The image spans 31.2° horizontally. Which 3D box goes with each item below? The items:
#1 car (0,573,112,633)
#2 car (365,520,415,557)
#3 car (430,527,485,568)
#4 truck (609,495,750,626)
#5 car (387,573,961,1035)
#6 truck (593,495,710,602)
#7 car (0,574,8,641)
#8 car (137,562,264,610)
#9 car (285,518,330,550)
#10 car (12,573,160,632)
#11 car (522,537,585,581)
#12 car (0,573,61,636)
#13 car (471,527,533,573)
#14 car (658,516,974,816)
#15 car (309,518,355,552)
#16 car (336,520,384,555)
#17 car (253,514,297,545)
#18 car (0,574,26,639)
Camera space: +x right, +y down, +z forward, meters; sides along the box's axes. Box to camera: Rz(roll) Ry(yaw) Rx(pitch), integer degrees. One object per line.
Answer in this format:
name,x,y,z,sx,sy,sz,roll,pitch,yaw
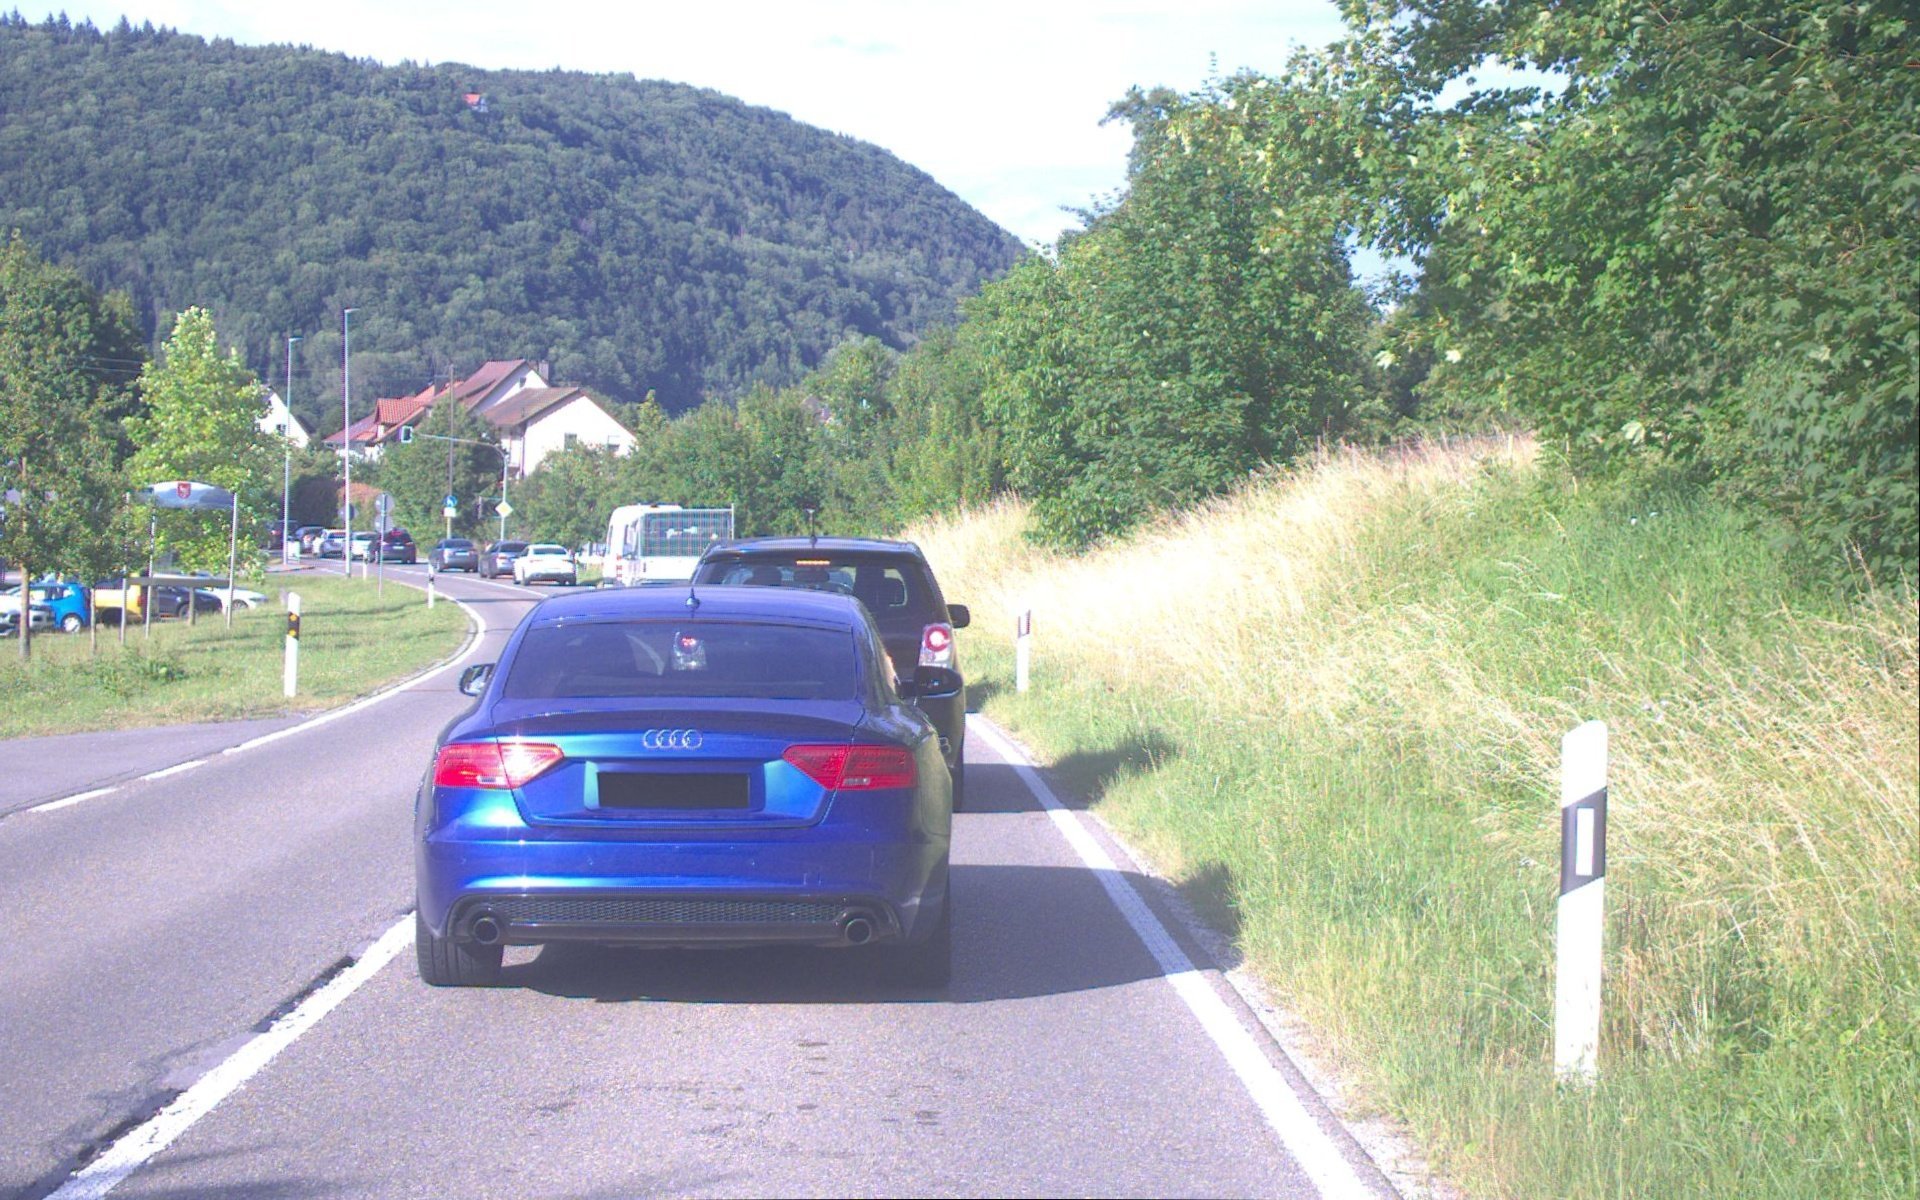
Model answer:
car,-27.121,0.067,100.909,3.986,1.705,2.000,1,0,-2
car,-27.433,-2.944,165.449,1.845,1.706,4.001,1,0,-17
car,-21.522,-2.247,147.187,1.845,1.706,4.001,1,0,-15
truck,-5.856,-0.803,71.172,2.229,2.561,6.105,1,0,-11
car,-0.897,0.625,12.697,1.754,1.425,3.846,1,0,0
truck,-7.804,-1.268,86.307,2.229,2.561,6.709,1,0,-11
car,-26.674,0.166,88.180,3.986,1.705,2.000,1,0,-2
car,-26.091,-0.486,118.143,3.986,1.573,1.753,1,0,-2
car,-36.088,-3.624,190.113,1.845,1.706,4.001,1,0,-19
car,-26.316,0.059,103.583,3.986,1.705,2.000,1,0,-2
car,-14.200,-1.429,119.916,1.845,1.477,4.001,1,0,-12
car,-27.122,0.109,95.122,3.986,1.705,2.000,1,0,-2
car,-17.564,-1.915,131.779,1.845,1.706,4.001,1,0,-15
car,-0.807,0.359,21.340,1.754,1.675,3.846,1,0,0
car,-33.384,-3.442,182.609,1.845,1.706,4.001,1,0,-18
car,-30.547,-3.164,174.875,1.845,1.706,4.001,1,0,-18
car,-39.409,-4.030,197.771,1.845,1.706,4.001,1,0,-20
car,-27.190,0.132,91.837,3.986,1.705,2.000,1,0,-2
